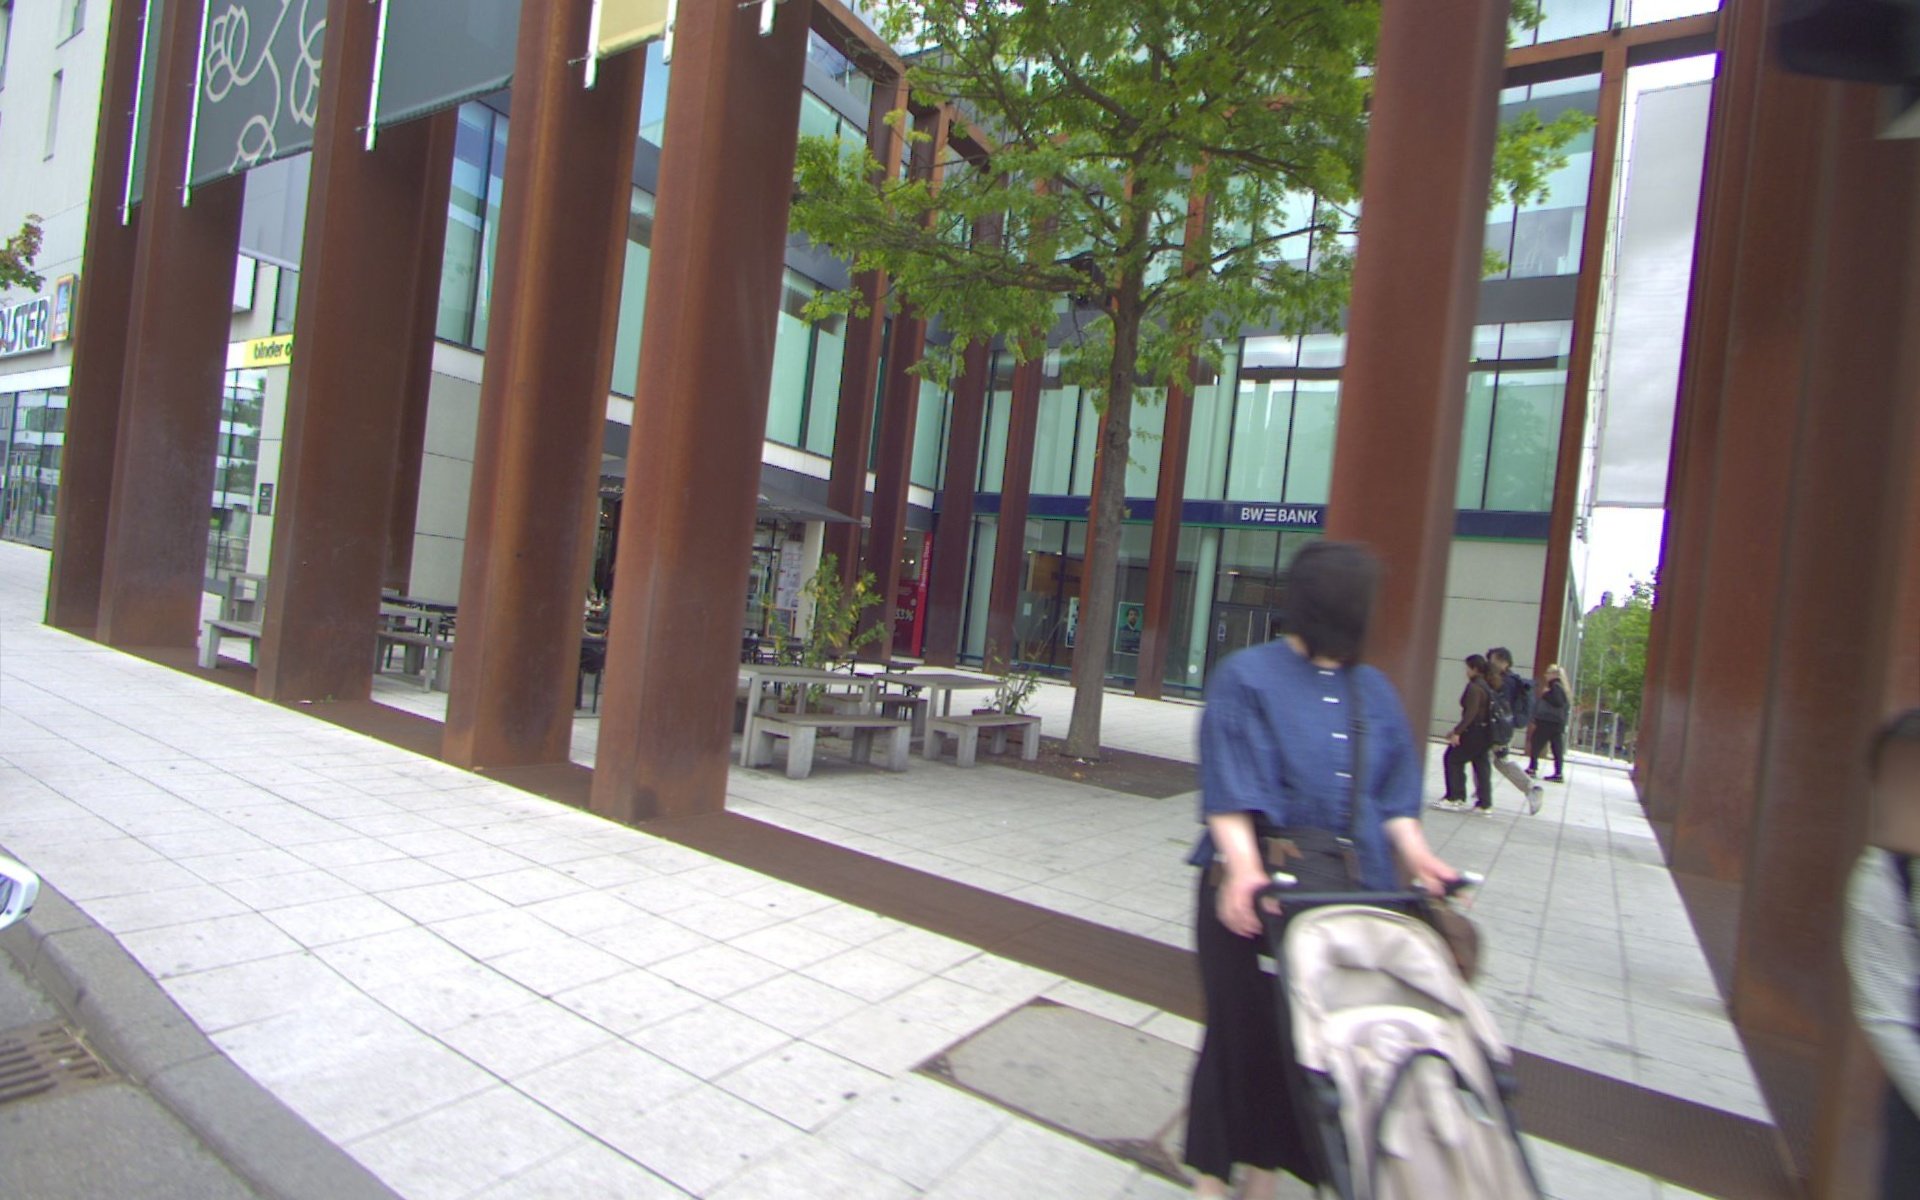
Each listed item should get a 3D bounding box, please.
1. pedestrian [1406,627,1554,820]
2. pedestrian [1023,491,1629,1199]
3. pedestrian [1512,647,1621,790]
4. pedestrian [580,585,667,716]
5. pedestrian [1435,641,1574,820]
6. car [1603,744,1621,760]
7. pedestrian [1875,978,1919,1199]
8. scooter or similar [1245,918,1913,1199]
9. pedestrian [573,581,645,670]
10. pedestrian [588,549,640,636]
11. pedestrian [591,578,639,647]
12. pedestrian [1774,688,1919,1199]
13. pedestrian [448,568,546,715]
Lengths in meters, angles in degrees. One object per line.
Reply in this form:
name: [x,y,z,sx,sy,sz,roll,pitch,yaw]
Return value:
pedestrian: [5.252,1.206,10.148,1.101,1.702,0.880,7,0,31]
pedestrian: [0.770,0.681,2.245,0.861,1.666,0.677,7,0,-22]
pedestrian: [8.475,1.635,14.100,1.101,1.789,0.880,7,0,31]
pedestrian: [-3.398,0.510,10.147,0.597,1.235,0.447,7,0,38]
pedestrian: [5.911,1.380,10.929,1.101,1.702,0.880,7,0,31]
car: [81.374,18.956,125.530,1.697,1.617,3.736,9,-2,33]
pedestrian: [1.629,1.114,1.440,0.447,0.935,0.362,7,0,36]
scooter or similar: [0.902,1.088,1.602,0.626,0.973,0.617,7,0,-23]
pedestrian: [-5.314,0.388,15.216,0.782,1.223,0.516,8,1,32]
pedestrian: [-7.029,-0.154,20.442,0.724,1.652,0.522,7,0,36]
pedestrian: [-6.362,0.236,18.571,0.515,1.200,0.505,7,0,34]
pedestrian: [1.935,0.923,1.838,0.573,1.437,0.601,7,0,36]
pedestrian: [-4.177,0.374,9.079,0.597,1.235,0.448,7,0,36]
